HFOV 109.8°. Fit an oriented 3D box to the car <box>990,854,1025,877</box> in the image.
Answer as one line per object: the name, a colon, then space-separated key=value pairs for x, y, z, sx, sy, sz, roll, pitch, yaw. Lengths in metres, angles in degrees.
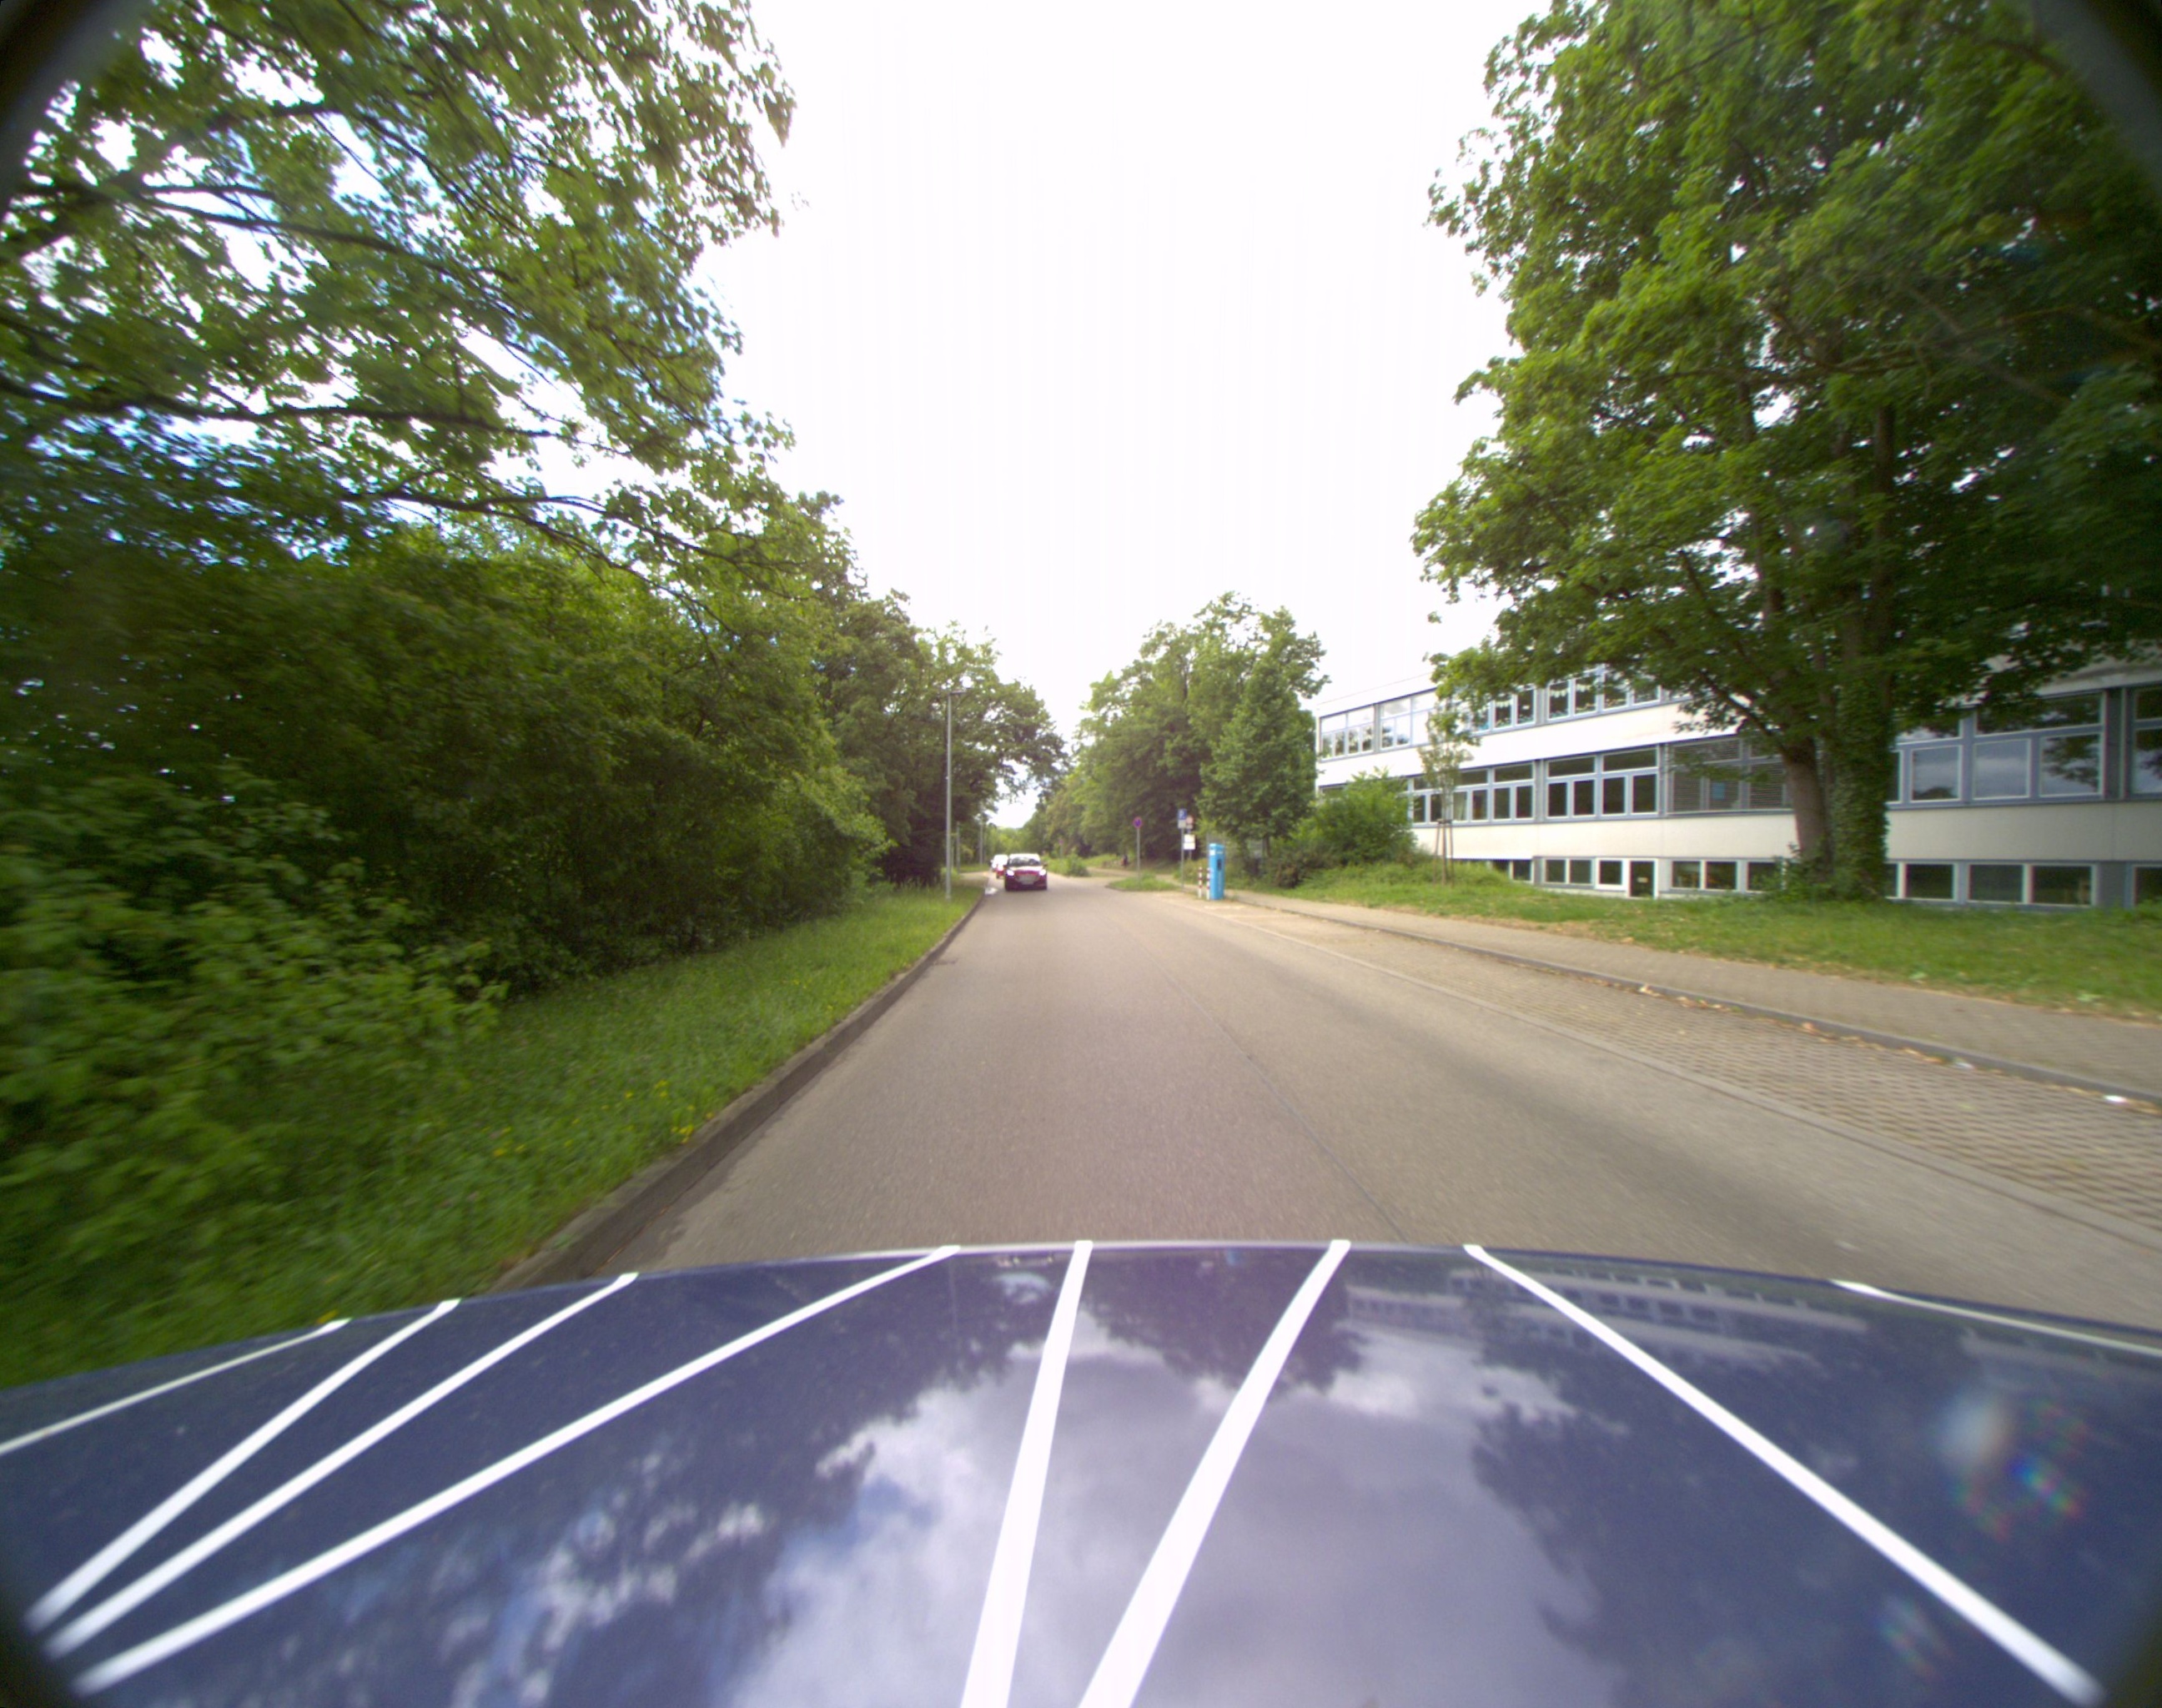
car: x=-5.229 y=0.760 z=53.635 sx=2.001 sy=1.565 sz=3.995 roll=0 pitch=0 yaw=-12

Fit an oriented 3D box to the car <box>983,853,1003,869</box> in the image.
car: x=-8.717 y=0.697 z=75.045 sx=1.921 sy=1.587 sz=3.895 roll=0 pitch=0 yaw=-8

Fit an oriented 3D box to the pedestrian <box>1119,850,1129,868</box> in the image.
pedestrian: x=3.960 y=0.434 z=69.486 sx=0.762 sy=1.653 sz=0.808 roll=0 pitch=0 yaw=-9

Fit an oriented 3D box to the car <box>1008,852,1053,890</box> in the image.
car: x=-2.316 y=0.758 z=35.664 sx=1.861 sy=1.608 sz=4.475 roll=-2 pitch=0 yaw=-2
